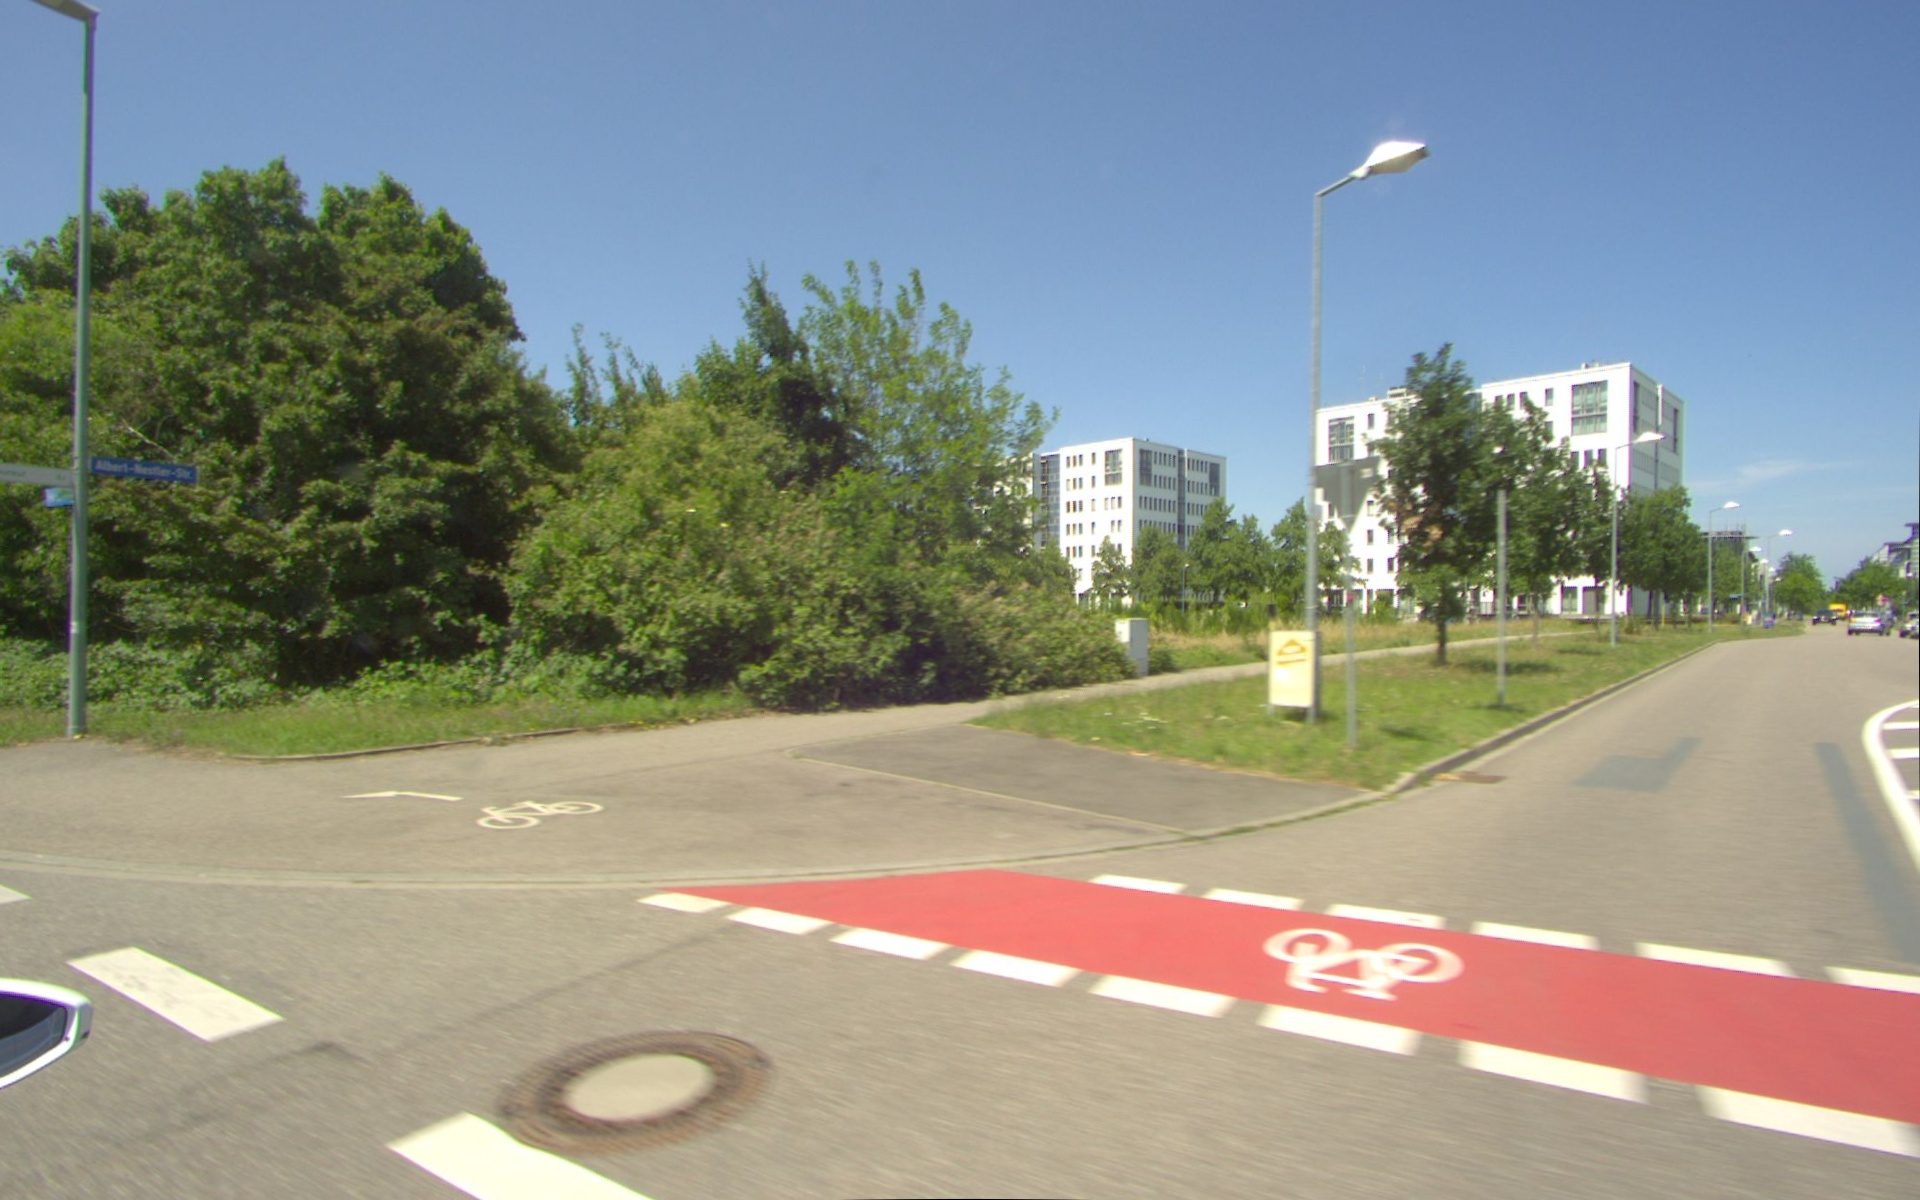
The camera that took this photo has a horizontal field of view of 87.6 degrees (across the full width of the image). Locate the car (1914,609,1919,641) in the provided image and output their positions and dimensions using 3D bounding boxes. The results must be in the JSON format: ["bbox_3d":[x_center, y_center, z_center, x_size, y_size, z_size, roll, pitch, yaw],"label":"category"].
[{"bbox_3d":[49.288,1.279,50.455,1.687,1.552,3.598,0,-2,42],"label":"car"}]

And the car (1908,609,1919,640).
[{"bbox_3d":[52.663,1.355,54.309,1.687,1.552,3.598,0,-2,42],"label":"car"}]

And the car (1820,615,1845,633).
[{"bbox_3d":[87.731,2.428,100.651,1.686,1.553,3.598,6,1,42],"label":"car"}]

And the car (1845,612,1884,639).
[{"bbox_3d":[56.132,1.602,62.172,1.686,1.552,3.600,0,-2,41],"label":"car"}]

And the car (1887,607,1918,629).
[{"bbox_3d":[72.083,1.395,76.614,1.687,1.552,3.598,0,-2,42],"label":"car"}]
